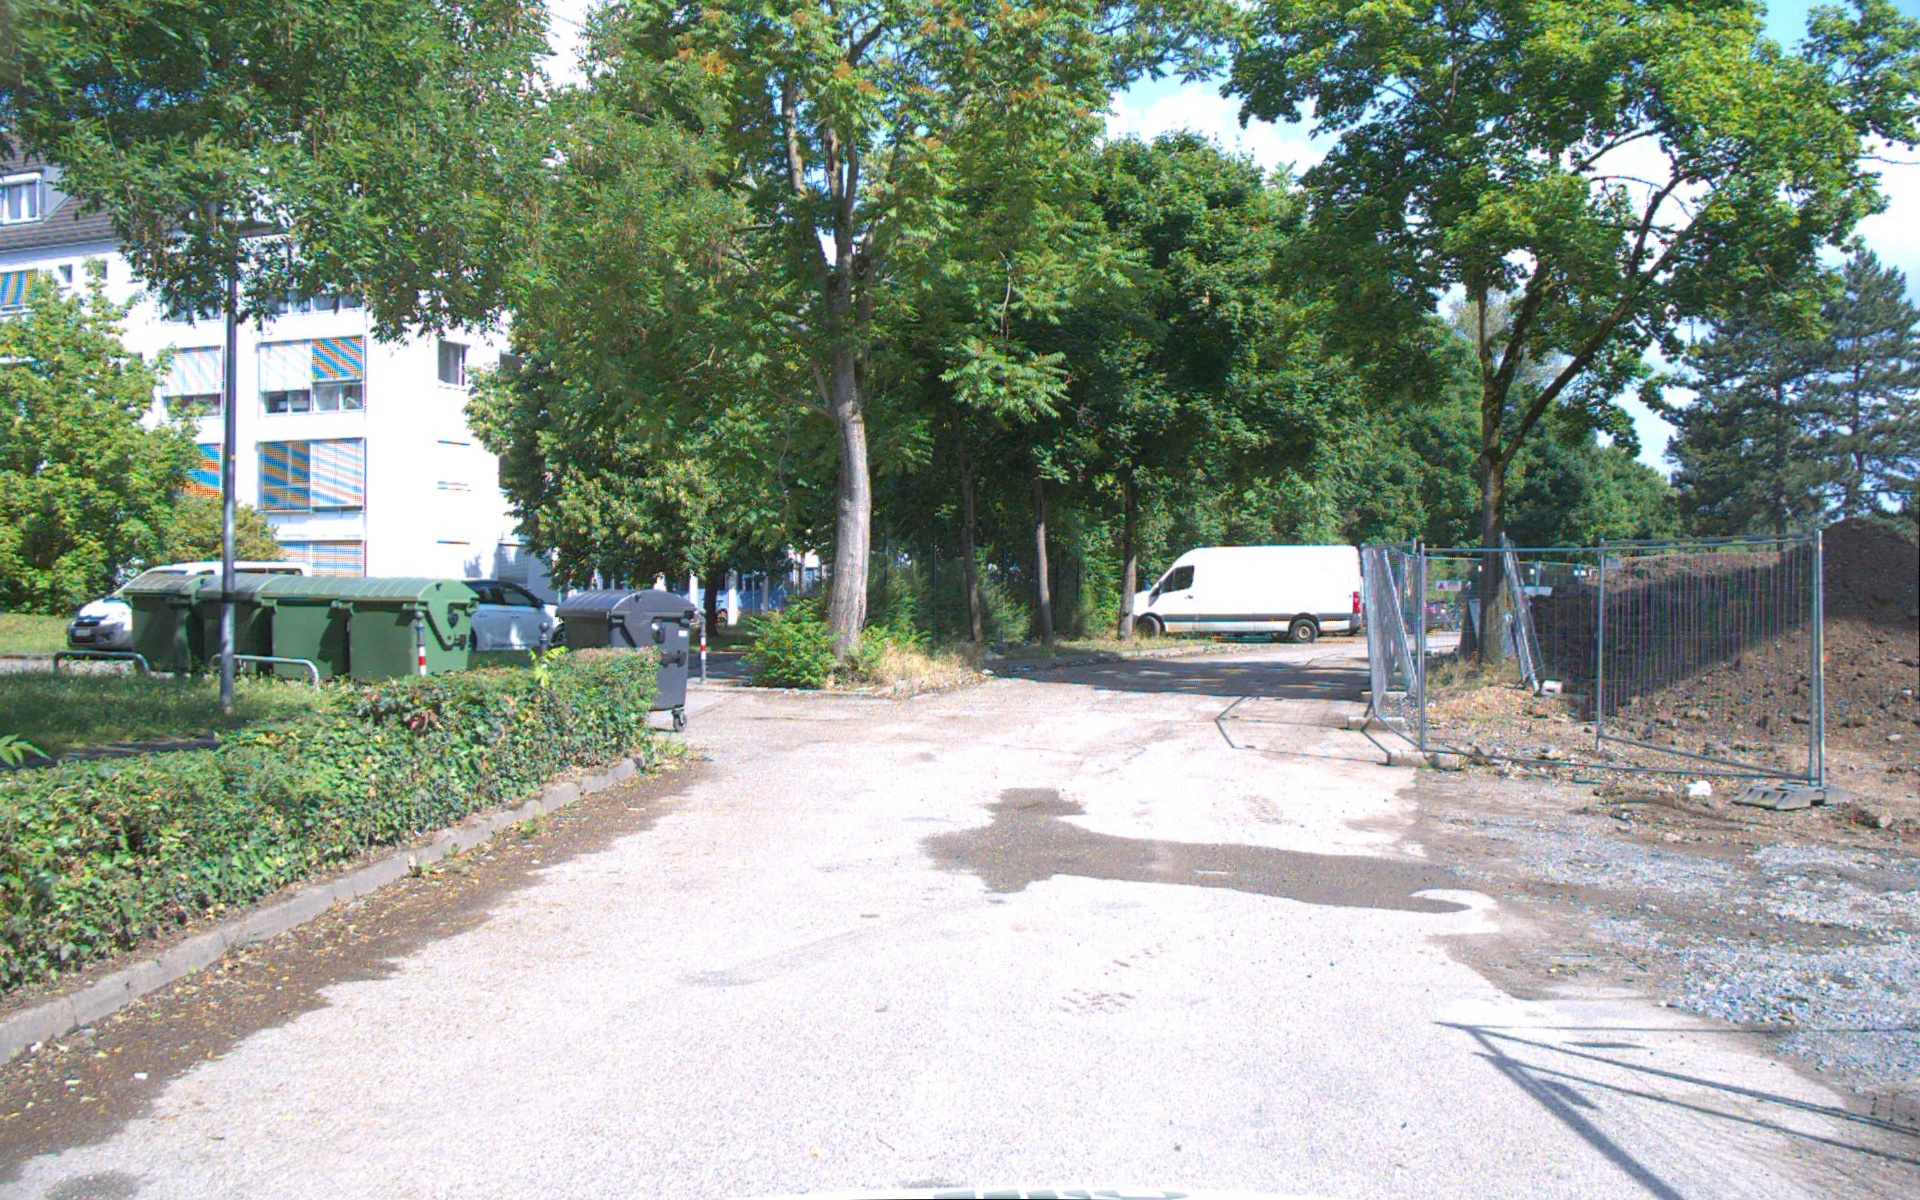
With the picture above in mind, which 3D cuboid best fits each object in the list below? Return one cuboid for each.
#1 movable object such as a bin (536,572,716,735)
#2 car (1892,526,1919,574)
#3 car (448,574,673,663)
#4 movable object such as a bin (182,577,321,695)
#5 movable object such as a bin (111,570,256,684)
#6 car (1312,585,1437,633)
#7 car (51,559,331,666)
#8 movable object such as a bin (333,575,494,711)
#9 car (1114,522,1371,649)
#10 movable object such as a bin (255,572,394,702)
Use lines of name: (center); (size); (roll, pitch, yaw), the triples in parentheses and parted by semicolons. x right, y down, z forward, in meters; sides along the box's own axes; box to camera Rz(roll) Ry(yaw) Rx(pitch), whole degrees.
movable object such as a bin: (-3.441, 0.546, 17.027); (1.238, 1.507, 1.277); (5, 0, -41)
car: (33.423, -1.595, 54.392); (4.764, 1.453, 1.840); (2, -2, 31)
car: (-7.032, 0.308, 29.492); (1.720, 1.445, 3.911); (1, 0, 28)
movable object such as a bin: (-8.783, 0.447, 20.528); (1.205, 1.372, 0.946); (2, -2, 23)
movable object such as a bin: (-9.965, 0.349, 21.243); (1.349, 1.372, 0.946); (2, -2, 23)
car: (14.494, 0.320, 57.801); (3.910, 1.453, 1.842); (2, -2, 27)
car: (-15.518, 0.284, 33.660); (1.956, 1.999, 4.945); (-1, -1, 30)
movable object such as a bin: (-6.347, 0.501, 19.232); (1.314, 1.477, 1.101); (2, -2, 29)
car: (7.934, -0.427, 46.419); (6.806, 3.100, 2.001); (3, 0, 13)
movable object such as a bin: (-7.623, 0.444, 19.850); (1.205, 1.477, 0.880); (2, -2, 23)
